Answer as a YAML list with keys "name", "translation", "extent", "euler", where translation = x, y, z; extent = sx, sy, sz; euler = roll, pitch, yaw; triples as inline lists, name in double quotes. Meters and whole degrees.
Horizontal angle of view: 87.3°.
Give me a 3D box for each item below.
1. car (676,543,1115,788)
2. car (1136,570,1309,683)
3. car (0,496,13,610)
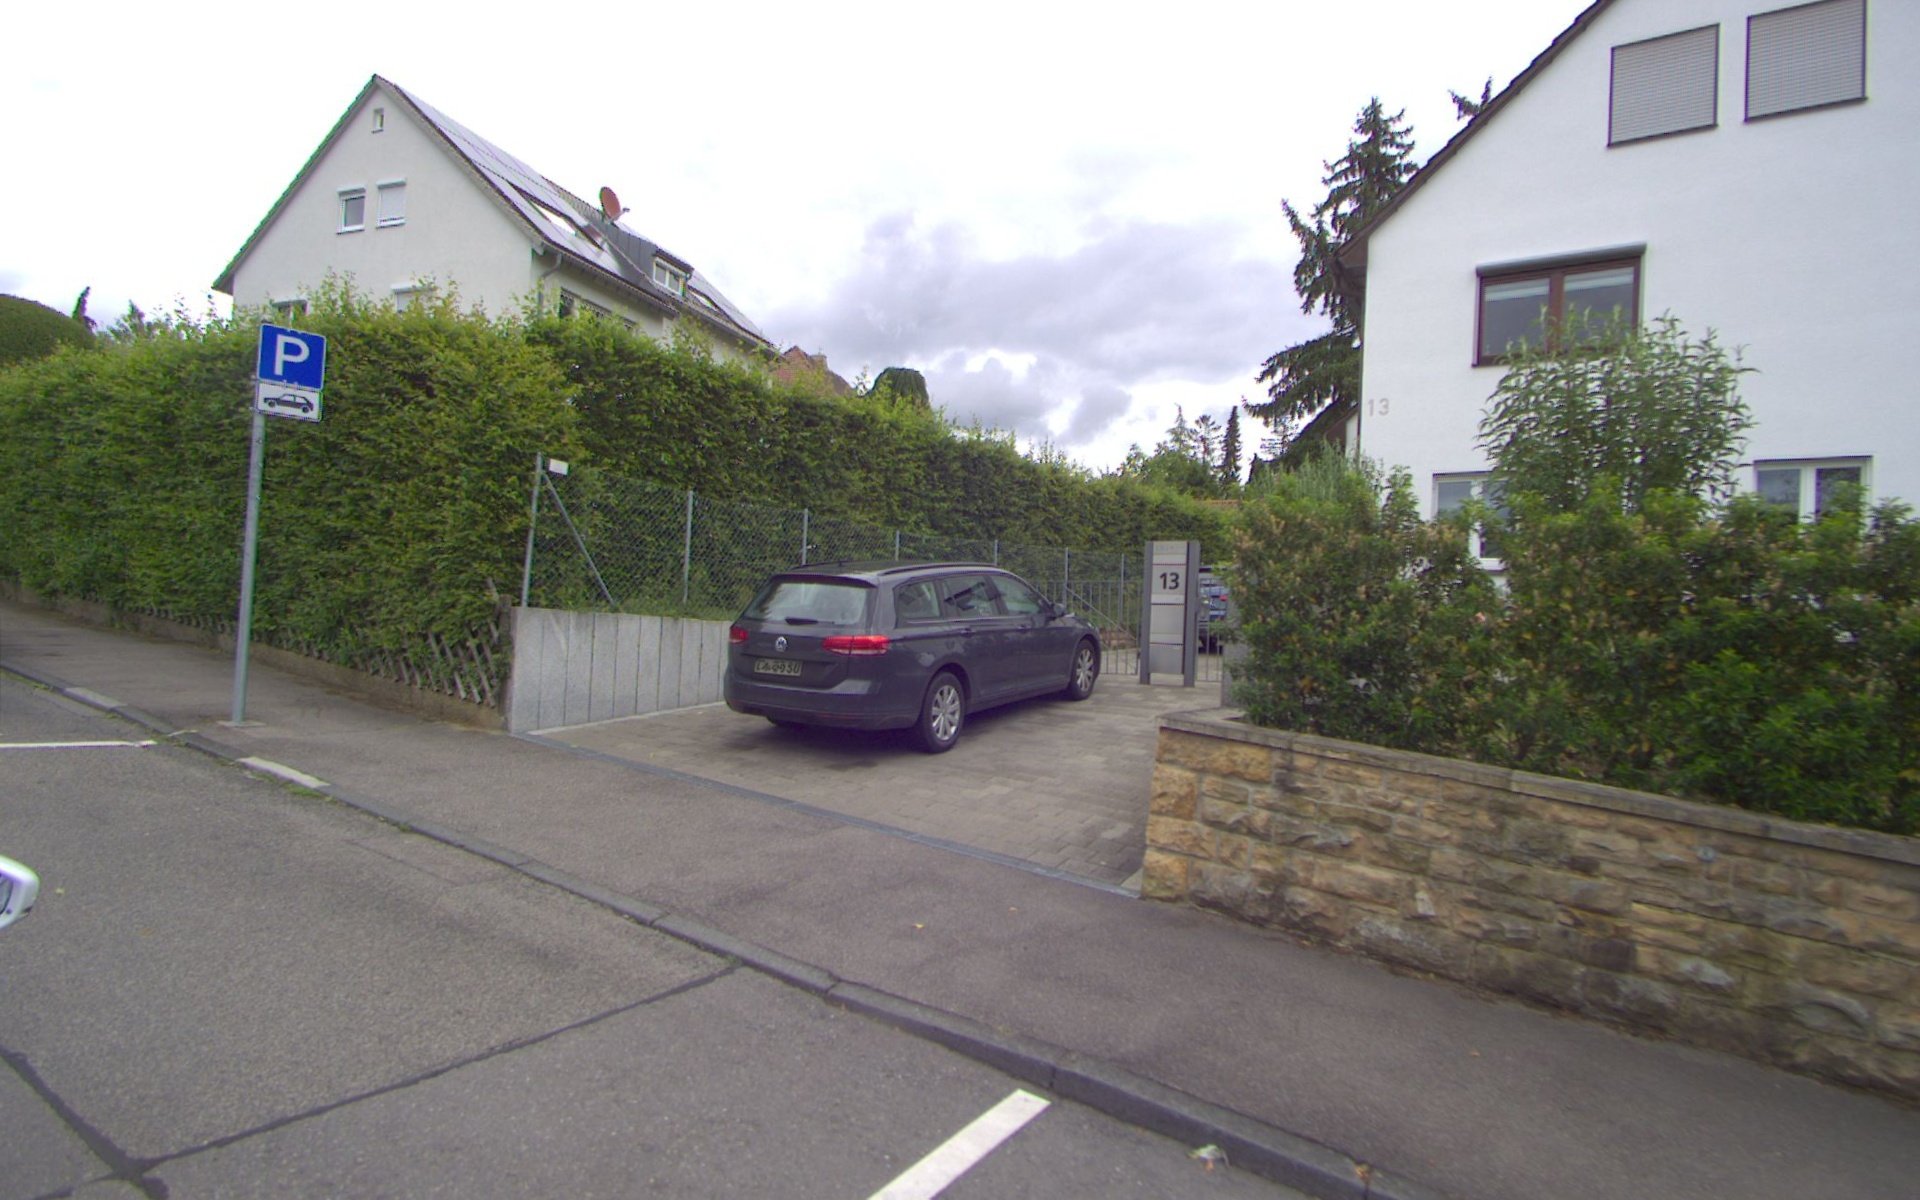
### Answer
- name: "car"
  translation: [-0.328, 0.336, 9.395]
  extent: [1.935, 1.491, 4.355]
  euler: [7, 8, 30]
- name: "car"
  translation: [5.054, 0.376, 18.936]
  extent: [1.935, 1.491, 4.355]
  euler: [7, 8, 30]
- name: "car"
  translation: [-10.887, -0.433, 9.399]
  extent: [4.402, 1.551, 1.885]
  euler: [7, -1, 33]
